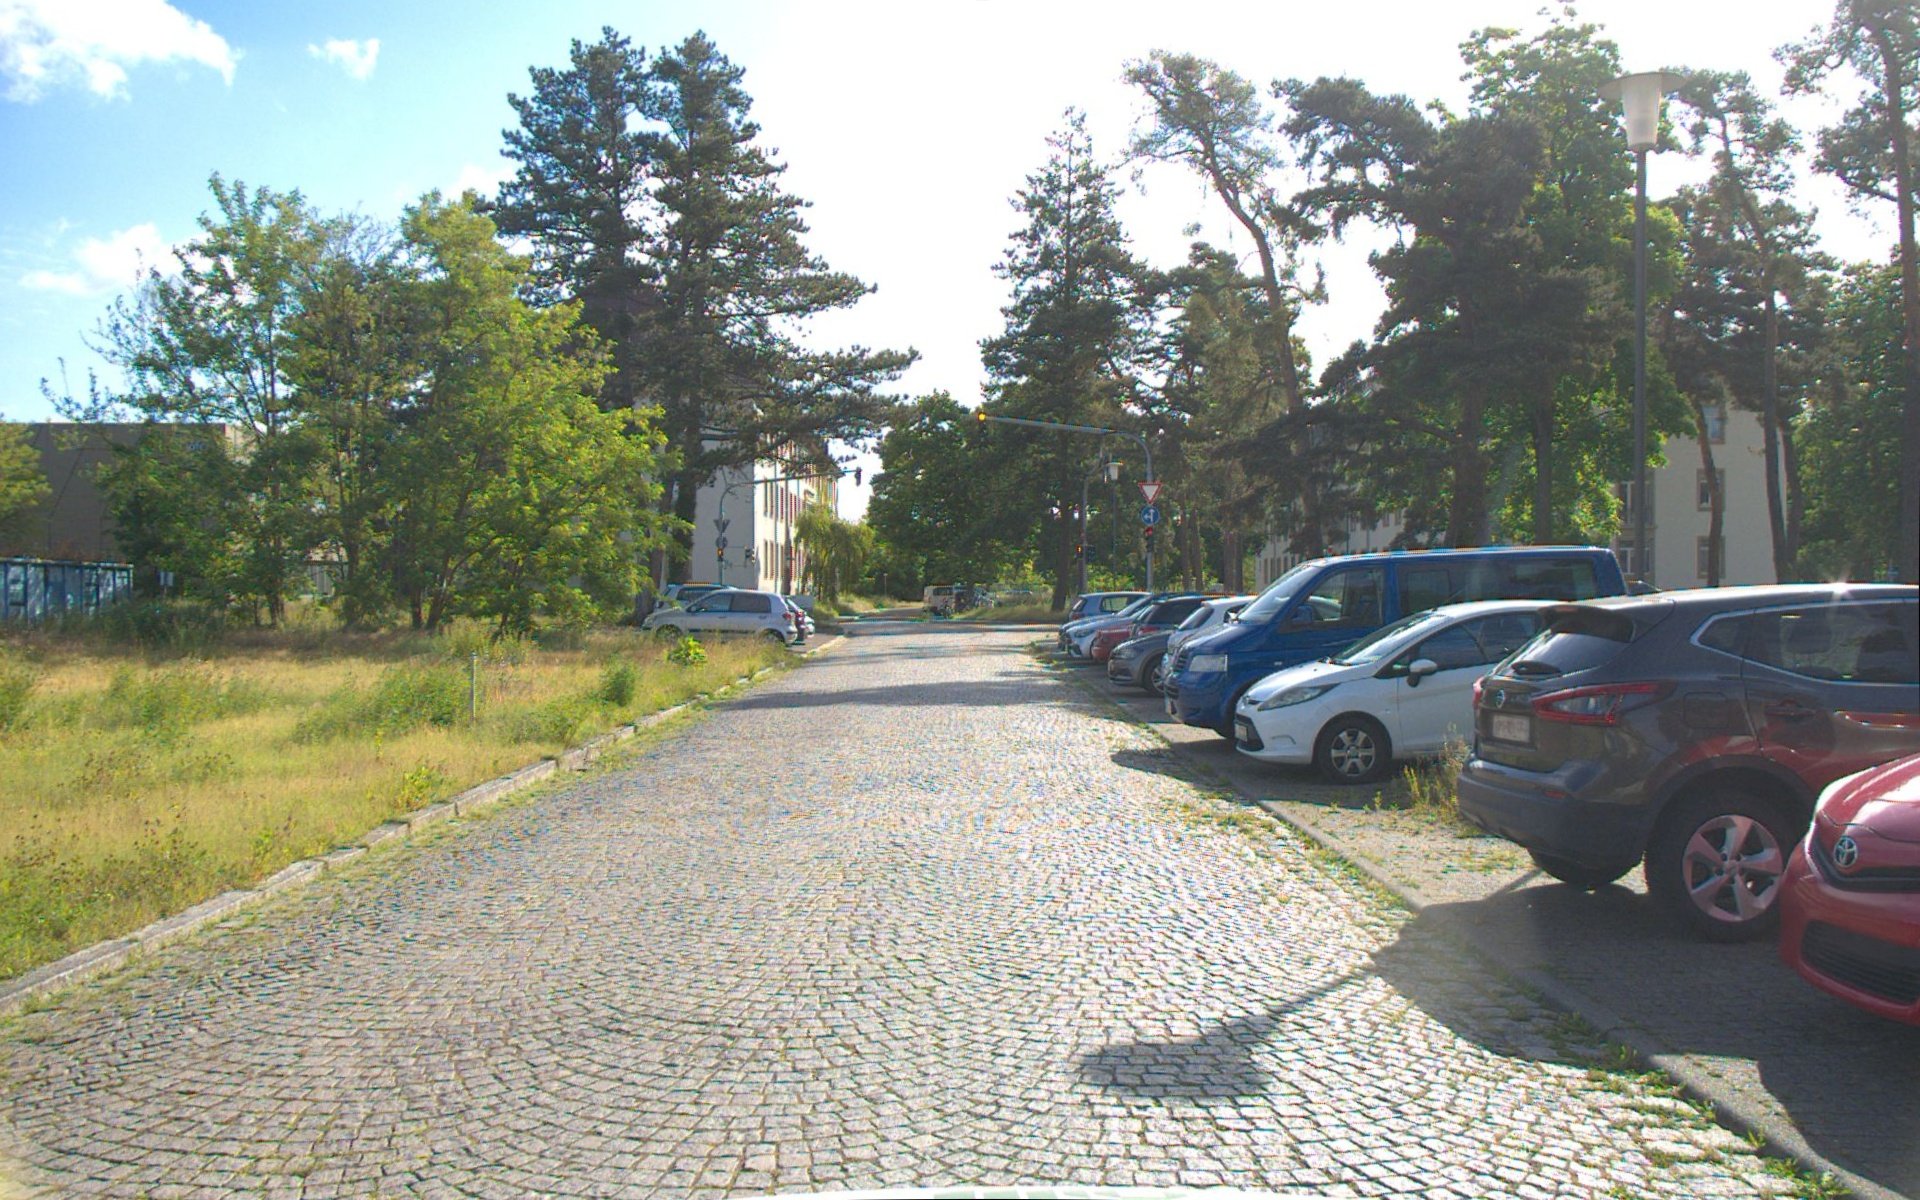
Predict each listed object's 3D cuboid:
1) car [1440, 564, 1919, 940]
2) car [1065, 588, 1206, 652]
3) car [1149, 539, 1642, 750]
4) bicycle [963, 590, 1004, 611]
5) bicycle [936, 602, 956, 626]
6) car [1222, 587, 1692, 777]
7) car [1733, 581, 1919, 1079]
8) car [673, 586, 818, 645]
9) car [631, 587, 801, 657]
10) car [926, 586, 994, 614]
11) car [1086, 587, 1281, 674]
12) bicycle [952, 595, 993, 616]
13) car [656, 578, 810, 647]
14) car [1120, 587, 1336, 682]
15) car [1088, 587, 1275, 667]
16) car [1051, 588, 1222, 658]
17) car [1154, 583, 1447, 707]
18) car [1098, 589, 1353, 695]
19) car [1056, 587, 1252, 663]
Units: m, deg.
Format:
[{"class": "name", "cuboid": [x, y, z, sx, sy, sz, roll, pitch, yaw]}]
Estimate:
[{"class": "car", "cuboid": [4.588, 0.655, 8.259, 3.856, 1.650, 1.771, 0, 0, -2]}, {"class": "car", "cuboid": [4.322, 0.478, 40.980, 3.276, 1.508, 1.645, 0, 0, -2]}, {"class": "car", "cuboid": [4.438, 0.421, 17.354, 4.584, 2.049, 2.082, 0, 0, -4]}, {"class": "bicycle", "cuboid": [1.301, 0.014, 91.133, 2.134, 1.119, 0.805, 0, 0, -11]}, {"class": "bicycle", "cuboid": [-0.758, 0.711, 86.439, 0.789, 1.190, 2.177, -2, 1, -6]}, {"class": "car", "cuboid": [4.308, 0.678, 14.674, 3.645, 1.514, 1.644, -1, 0, -3]}, {"class": "car", "cuboid": [4.835, 0.705, 5.596, 3.686, 1.557, 1.645, 0, 0, -1]}, {"class": "car", "cuboid": [-6.151, 0.421, 47.843, 3.906, 1.478, 2.000, 3, 0, -1]}, {"class": "car", "cuboid": [-5.850, 0.515, 40.057, 3.908, 1.628, 1.999, 0, 0, -4]}, {"class": "car", "cuboid": [-0.034, -0.007, 107.381, 4.389, 1.758, 2.000, 0, 0, -1]}, {"class": "car", "cuboid": [4.142, 0.547, 31.026, 3.408, 1.556, 1.645, 0, 0, -2]}, {"class": "bicycle", "cuboid": [0.671, 0.311, 89.920, 2.134, 1.119, 0.805, 0, 0, -11]}, {"class": "car", "cuboid": [-6.191, 0.334, 45.441, 3.906, 1.629, 2.000, 3, 0, -1]}, {"class": "car", "cuboid": [4.549, 0.566, 28.340, 3.408, 1.556, 1.645, 0, 0, -2]}, {"class": "car", "cuboid": [4.448, 0.529, 33.491, 3.530, 1.556, 1.645, 0, 0, -2]}, {"class": "car", "cuboid": [4.057, 0.521, 38.335, 3.758, 1.556, 1.645, 0, 0, -2]}, {"class": "car", "cuboid": [4.569, 0.588, 22.533, 3.619, 1.491, 1.645, -2, 0, 0]}, {"class": "car", "cuboid": [4.027, 0.620, 25.413, 3.601, 1.492, 1.645, -1, 0, -2]}, {"class": "car", "cuboid": [4.142, 0.516, 35.565, 3.955, 1.556, 1.644, 0, 0, -5]}]
